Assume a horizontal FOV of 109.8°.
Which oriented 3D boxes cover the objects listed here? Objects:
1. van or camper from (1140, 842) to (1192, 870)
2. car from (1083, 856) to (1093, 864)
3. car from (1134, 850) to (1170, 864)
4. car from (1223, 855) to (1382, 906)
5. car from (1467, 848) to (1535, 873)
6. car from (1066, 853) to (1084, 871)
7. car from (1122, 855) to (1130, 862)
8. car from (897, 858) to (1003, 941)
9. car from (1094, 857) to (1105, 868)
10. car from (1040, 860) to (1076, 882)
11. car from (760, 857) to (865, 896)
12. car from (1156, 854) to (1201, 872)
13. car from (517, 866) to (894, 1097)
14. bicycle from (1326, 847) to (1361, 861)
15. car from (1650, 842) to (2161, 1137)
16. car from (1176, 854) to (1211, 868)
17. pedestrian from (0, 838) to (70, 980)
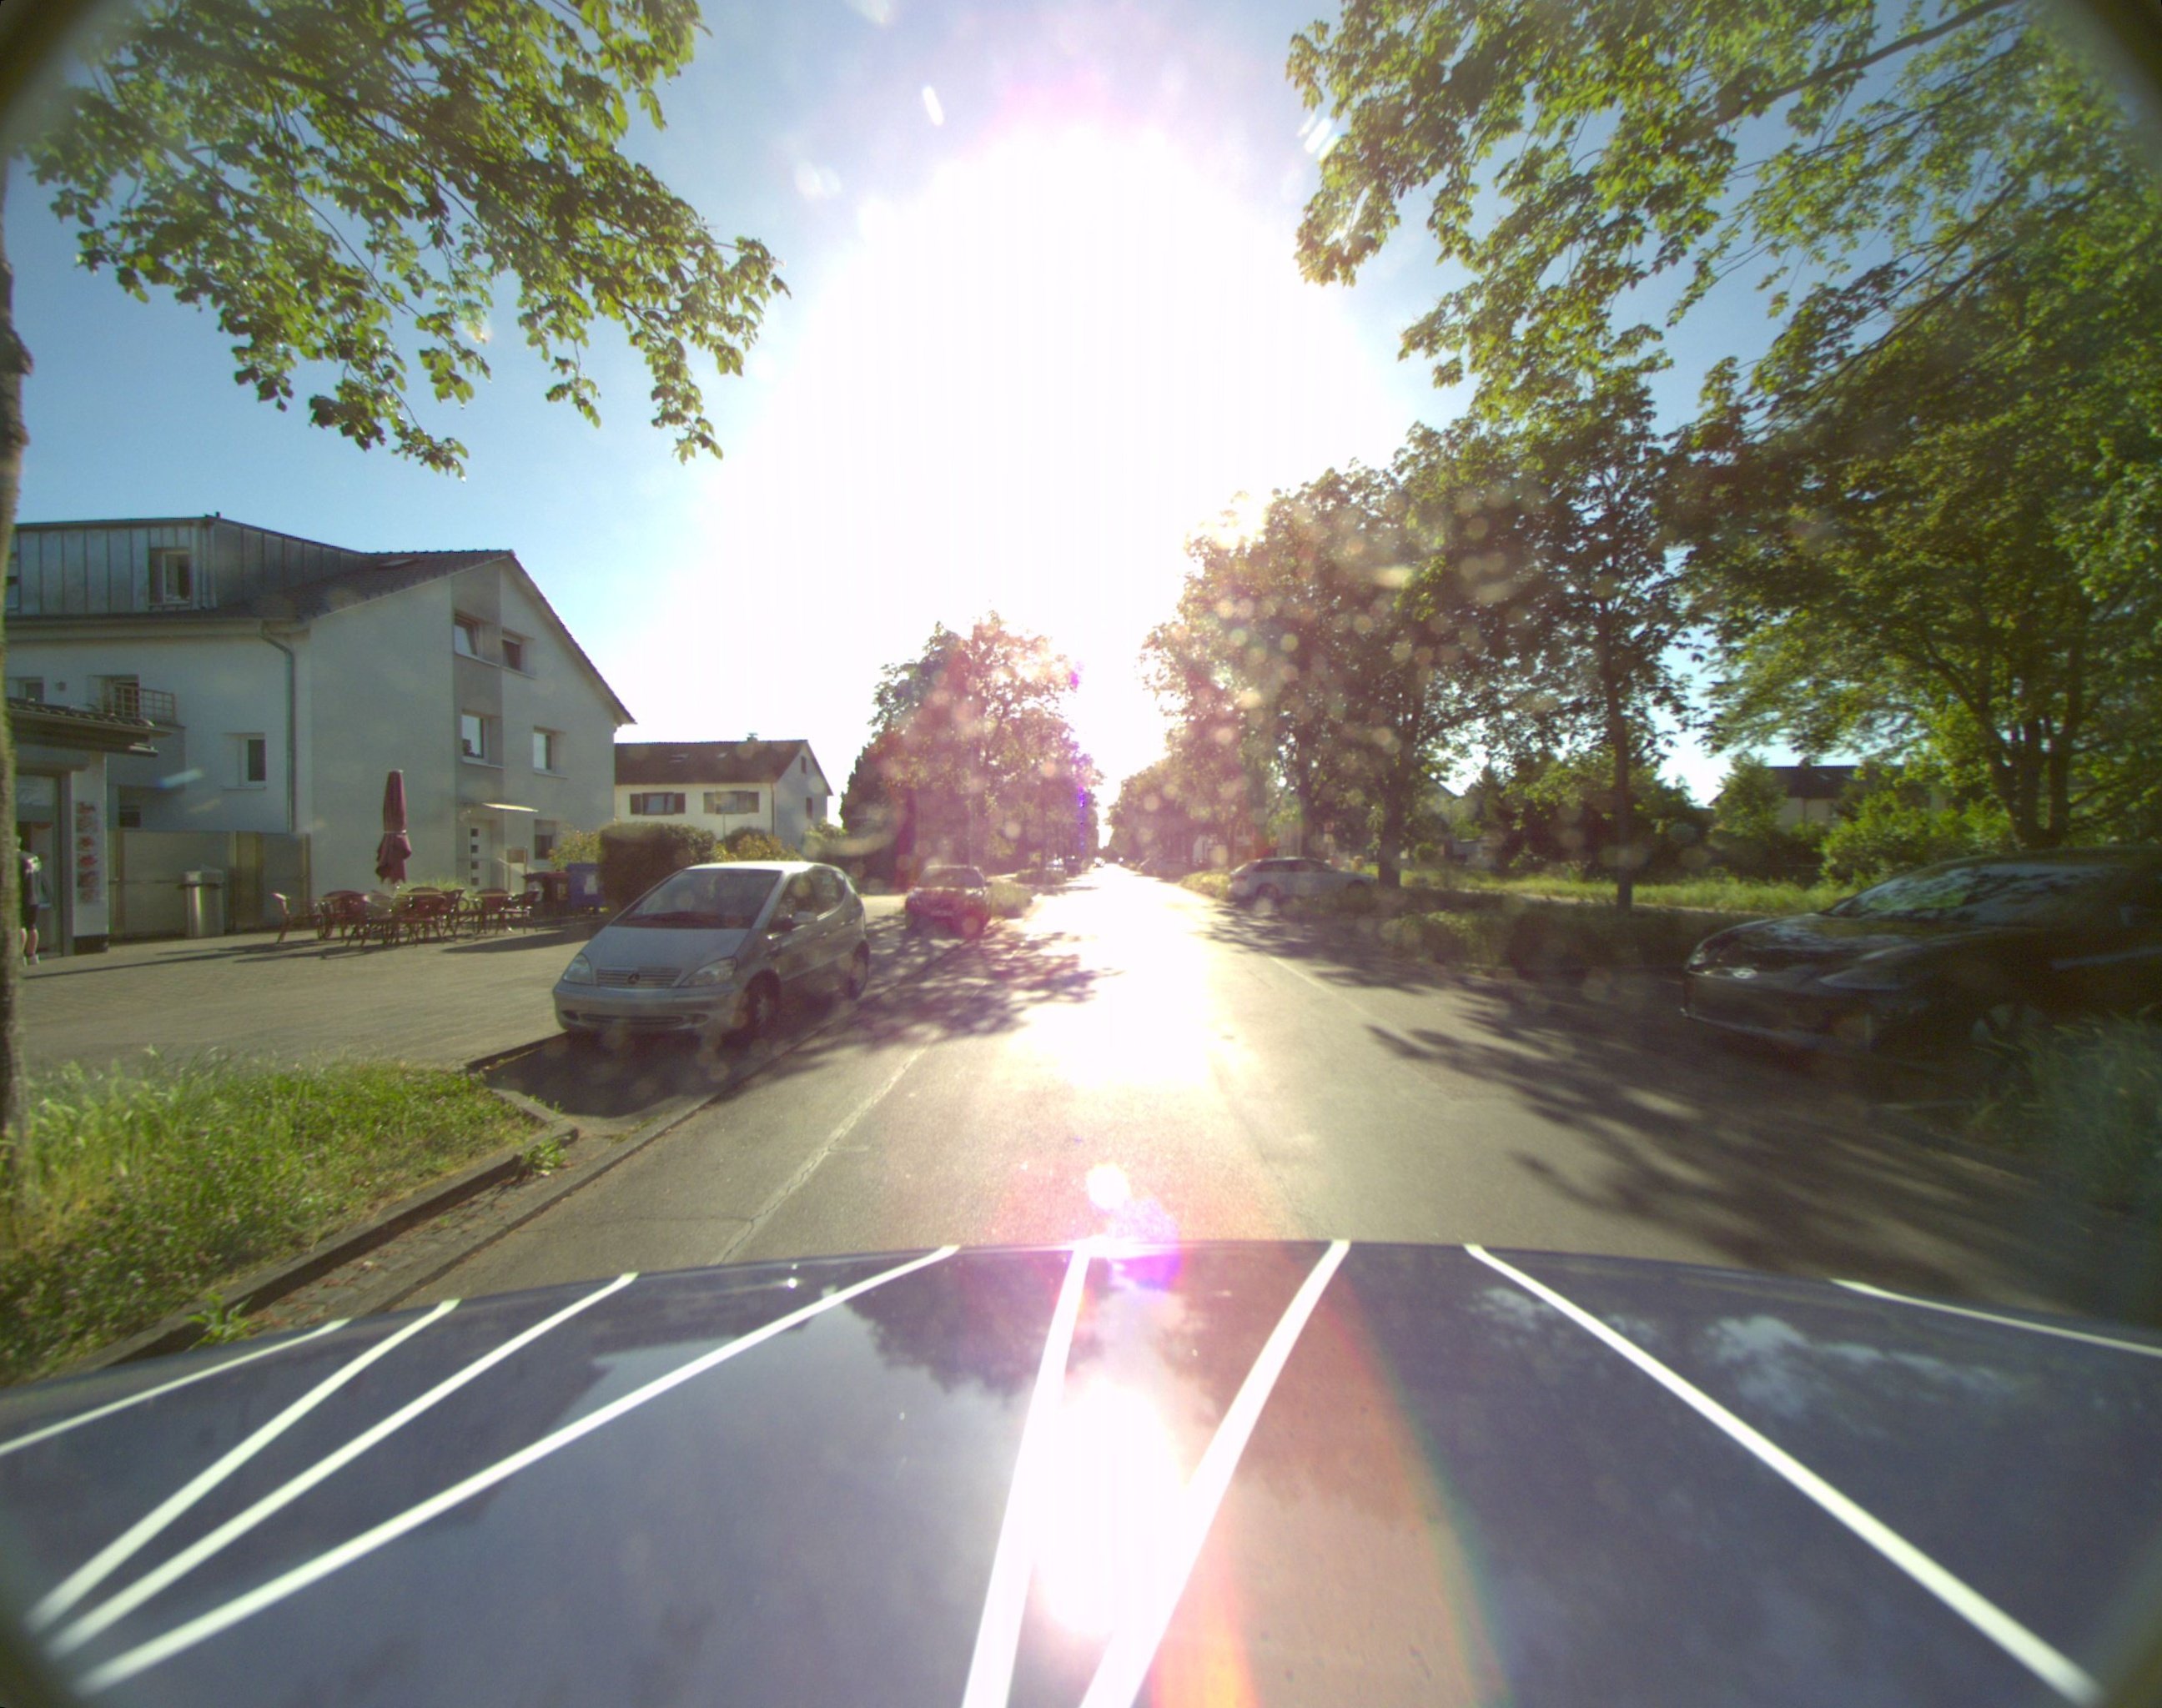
[{"bbox_3d":[9.828,0.203,88.086,5.789,2.789,2.000,-4,1,4],"label":"van or camper"},{"bbox_3d":[1.675,1.244,170.050,1.941,1.684,4.363,-1,0,4],"label":"car"},{"bbox_3d":[10.648,0.489,114.821,5.075,1.718,1.999,-4,1,-2],"label":"car"},{"bbox_3d":[7.216,0.856,25.133,4.682,1.494,2.000,-1,0,3],"label":"car"},{"bbox_3d":[31.613,0.484,57.219,3.996,1.810,2.000,-1,0,1],"label":"car"},{"bbox_3d":[-0.710,0.976,95.830,1.998,2.002,5.196,-4,0,0],"label":"car"},{"bbox_3d":[10.980,1.169,185.740,1.998,1.530,3.695,-4,0,4],"label":"car"},{"bbox_3d":[-3.021,0.972,18.376,1.999,1.612,4.379,-4,0,-4],"label":"car"},{"bbox_3d":[3.060,1.397,126.997,1.539,1.582,3.459,-4,0,4],"label":"car"},{"bbox_3d":[-1.672,1.217,56.592,1.997,1.501,4.002,0,1,9],"label":"car"},{"bbox_3d":[-11.780,0.971,33.499,3.998,1.630,1.776,-1,0,-4],"label":"car"},{"bbox_3d":[9.137,0.836,71.371,3.997,1.651,1.967,-1,0,1],"label":"car"},{"bbox_3d":[-3.477,1.036,8.129,1.614,1.612,4.382,-4,0,2],"label":"car"},{"bbox_3d":[22.698,0.009,65.892,0.706,1.169,4.051,-1,-1,-15],"label":"bicycle"},{"bbox_3d":[6.794,0.752,5.208,4.378,1.522,1.807,-3,1,1],"label":"car"},{"bbox_3d":[14.384,0.902,97.260,3.998,1.533,1.869,-2,0,-4],"label":"car"},{"bbox_3d":[-13.940,0.693,9.714,0.824,1.768,0.839,-1,0,-10],"label":"pedestrian"}]
